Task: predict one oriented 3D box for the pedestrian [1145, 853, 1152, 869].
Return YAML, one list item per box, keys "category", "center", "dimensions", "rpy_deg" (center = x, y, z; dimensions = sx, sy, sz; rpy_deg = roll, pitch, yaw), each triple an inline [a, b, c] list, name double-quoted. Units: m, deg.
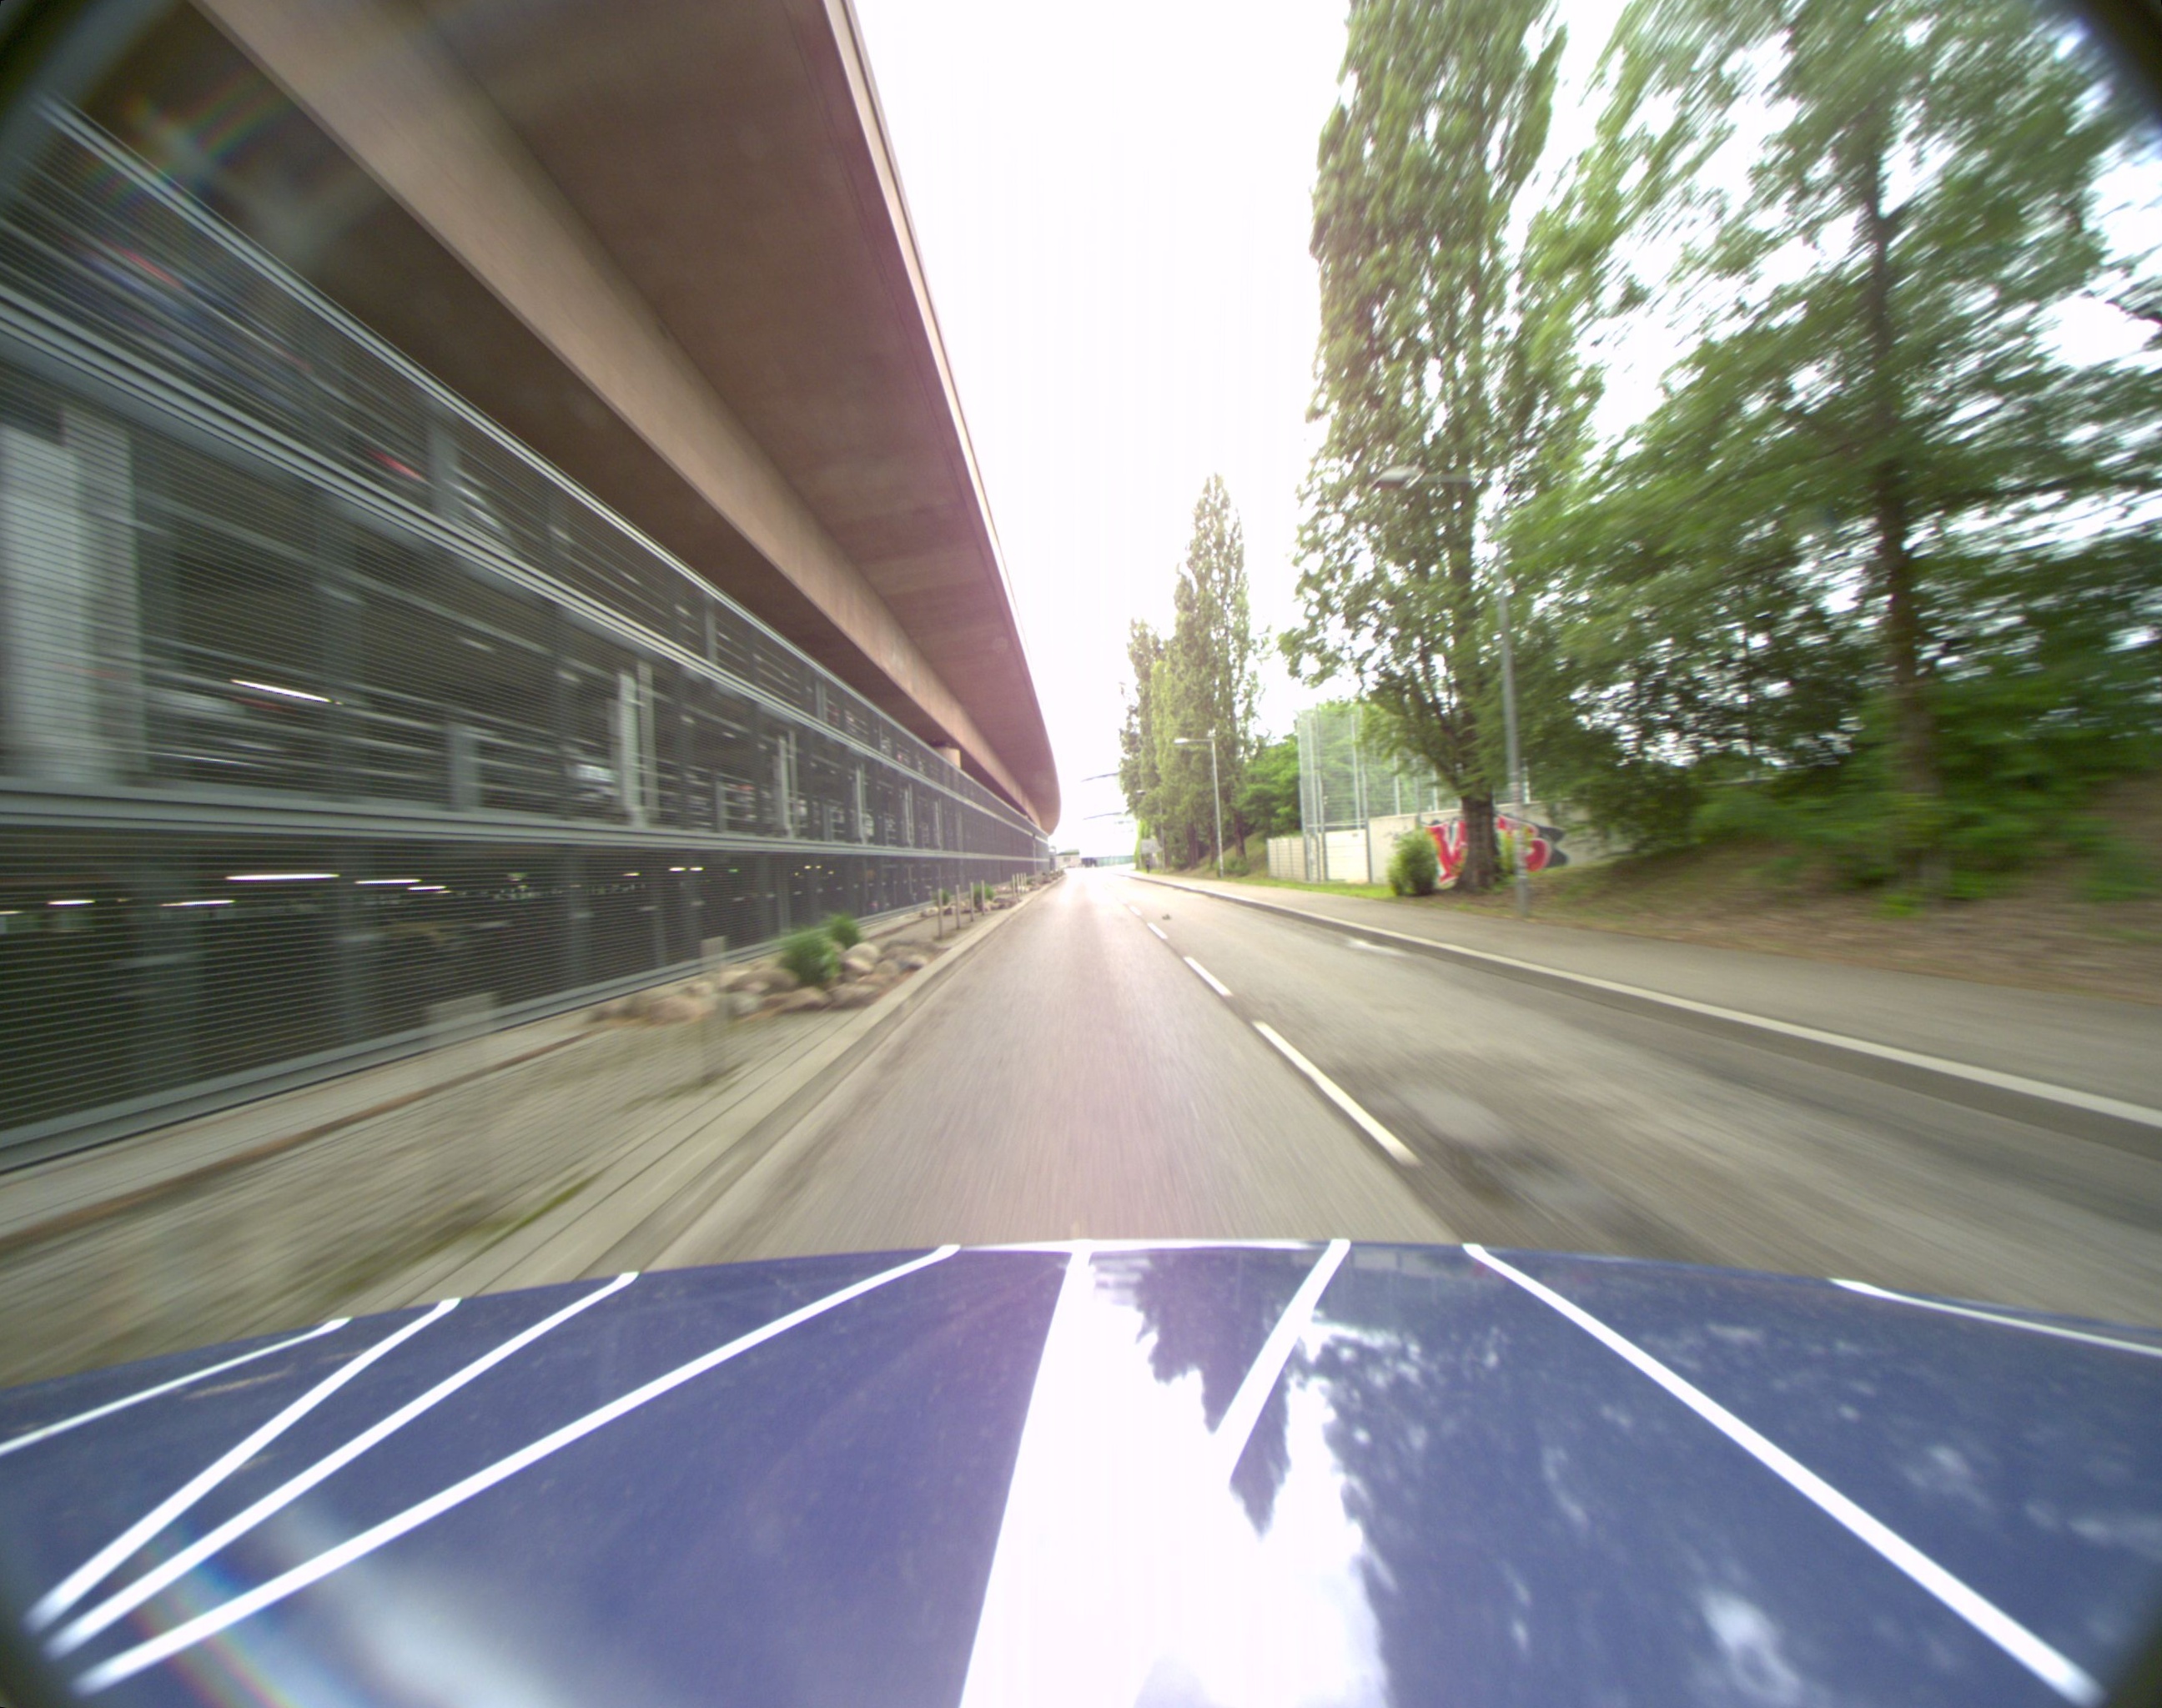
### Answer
- category: "pedestrian"
  center: [7.757, 0.796, 87.005]
  dimensions: [0.662, 1.882, 0.737]
  rpy_deg: [-2, 0, 0]
